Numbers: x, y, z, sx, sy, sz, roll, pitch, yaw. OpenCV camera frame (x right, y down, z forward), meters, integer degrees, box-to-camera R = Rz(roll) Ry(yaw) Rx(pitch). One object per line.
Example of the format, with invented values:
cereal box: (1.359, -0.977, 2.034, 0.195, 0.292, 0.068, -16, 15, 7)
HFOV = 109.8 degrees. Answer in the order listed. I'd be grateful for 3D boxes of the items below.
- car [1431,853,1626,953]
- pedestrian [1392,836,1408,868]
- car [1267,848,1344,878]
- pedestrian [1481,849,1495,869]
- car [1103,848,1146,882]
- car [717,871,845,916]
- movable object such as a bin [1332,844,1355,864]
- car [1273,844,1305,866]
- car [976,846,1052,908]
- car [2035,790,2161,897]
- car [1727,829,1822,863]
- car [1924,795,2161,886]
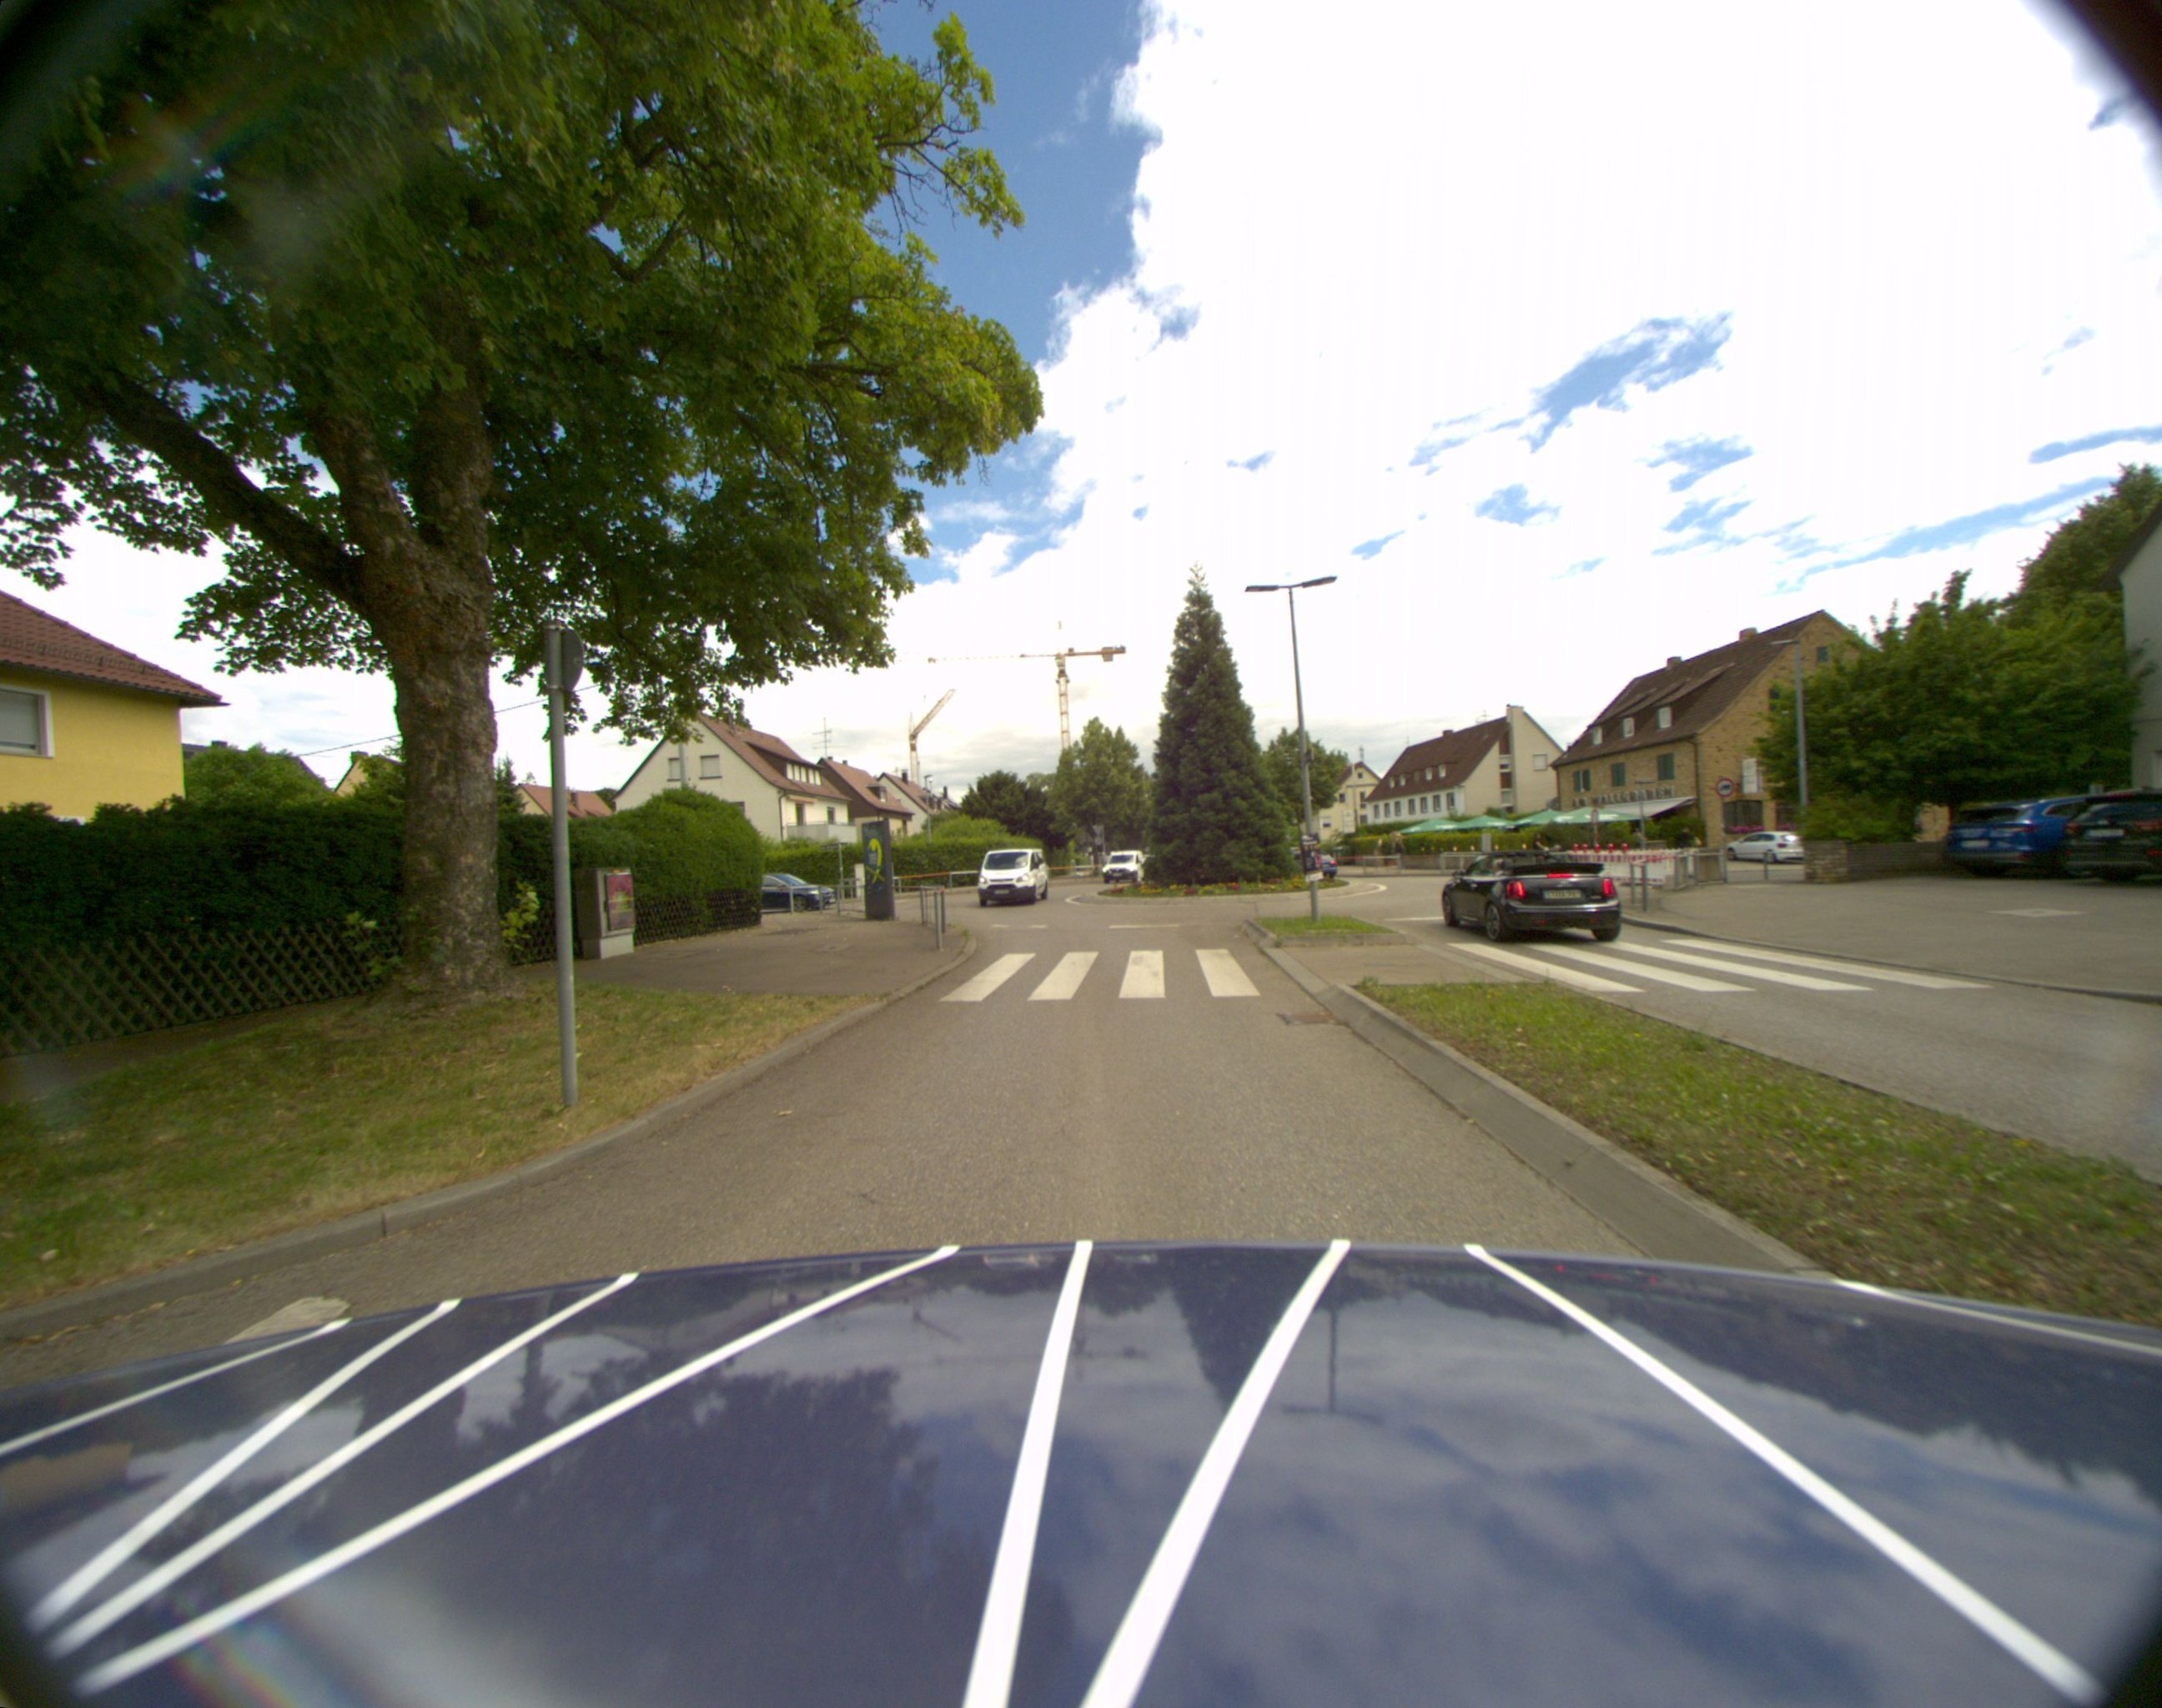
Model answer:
car: (7.261, 0.711, 12.744, 1.576, 1.354, 3.745, -3, 0, 10)
pedestrian: (18.501, -0.115, 44.128, 0.637, 1.816, 0.567, -4, 0, 9)
car: (11.376, 0.416, 38.889, 1.615, 1.364, 4.500, -2, 1, -16)
pedestrian: (19.724, 0.253, 36.806, 0.341, 0.907, 0.427, -5, 0, -33)
car: (2.513, 0.595, 42.850, 1.925, 1.744, 4.003, -3, 0, 10)
car: (-11.543, 1.506, 29.358, 4.315, 1.440, 1.584, -3, 0, 7)
movable object such as a bin: (20.094, -0.009, 58.212, 0.983, 1.408, 2.723, -3, 0, 5)
car: (16.934, 0.109, 61.946, 1.750, 1.626, 4.049, -3, 0, 5)
car: (-2.376, 0.782, 28.298, 1.998, 2.002, 5.051, -3, 0, 4)
car: (19.393, -0.291, 12.786, 3.925, 1.653, 1.856, -4, 2, 9)
car: (32.306, -0.412, 35.543, 1.466, 1.412, 3.675, -3, 2, 8)
car: (20.123, -0.300, 15.351, 3.927, 1.527, 1.819, -4, 1, 5)
